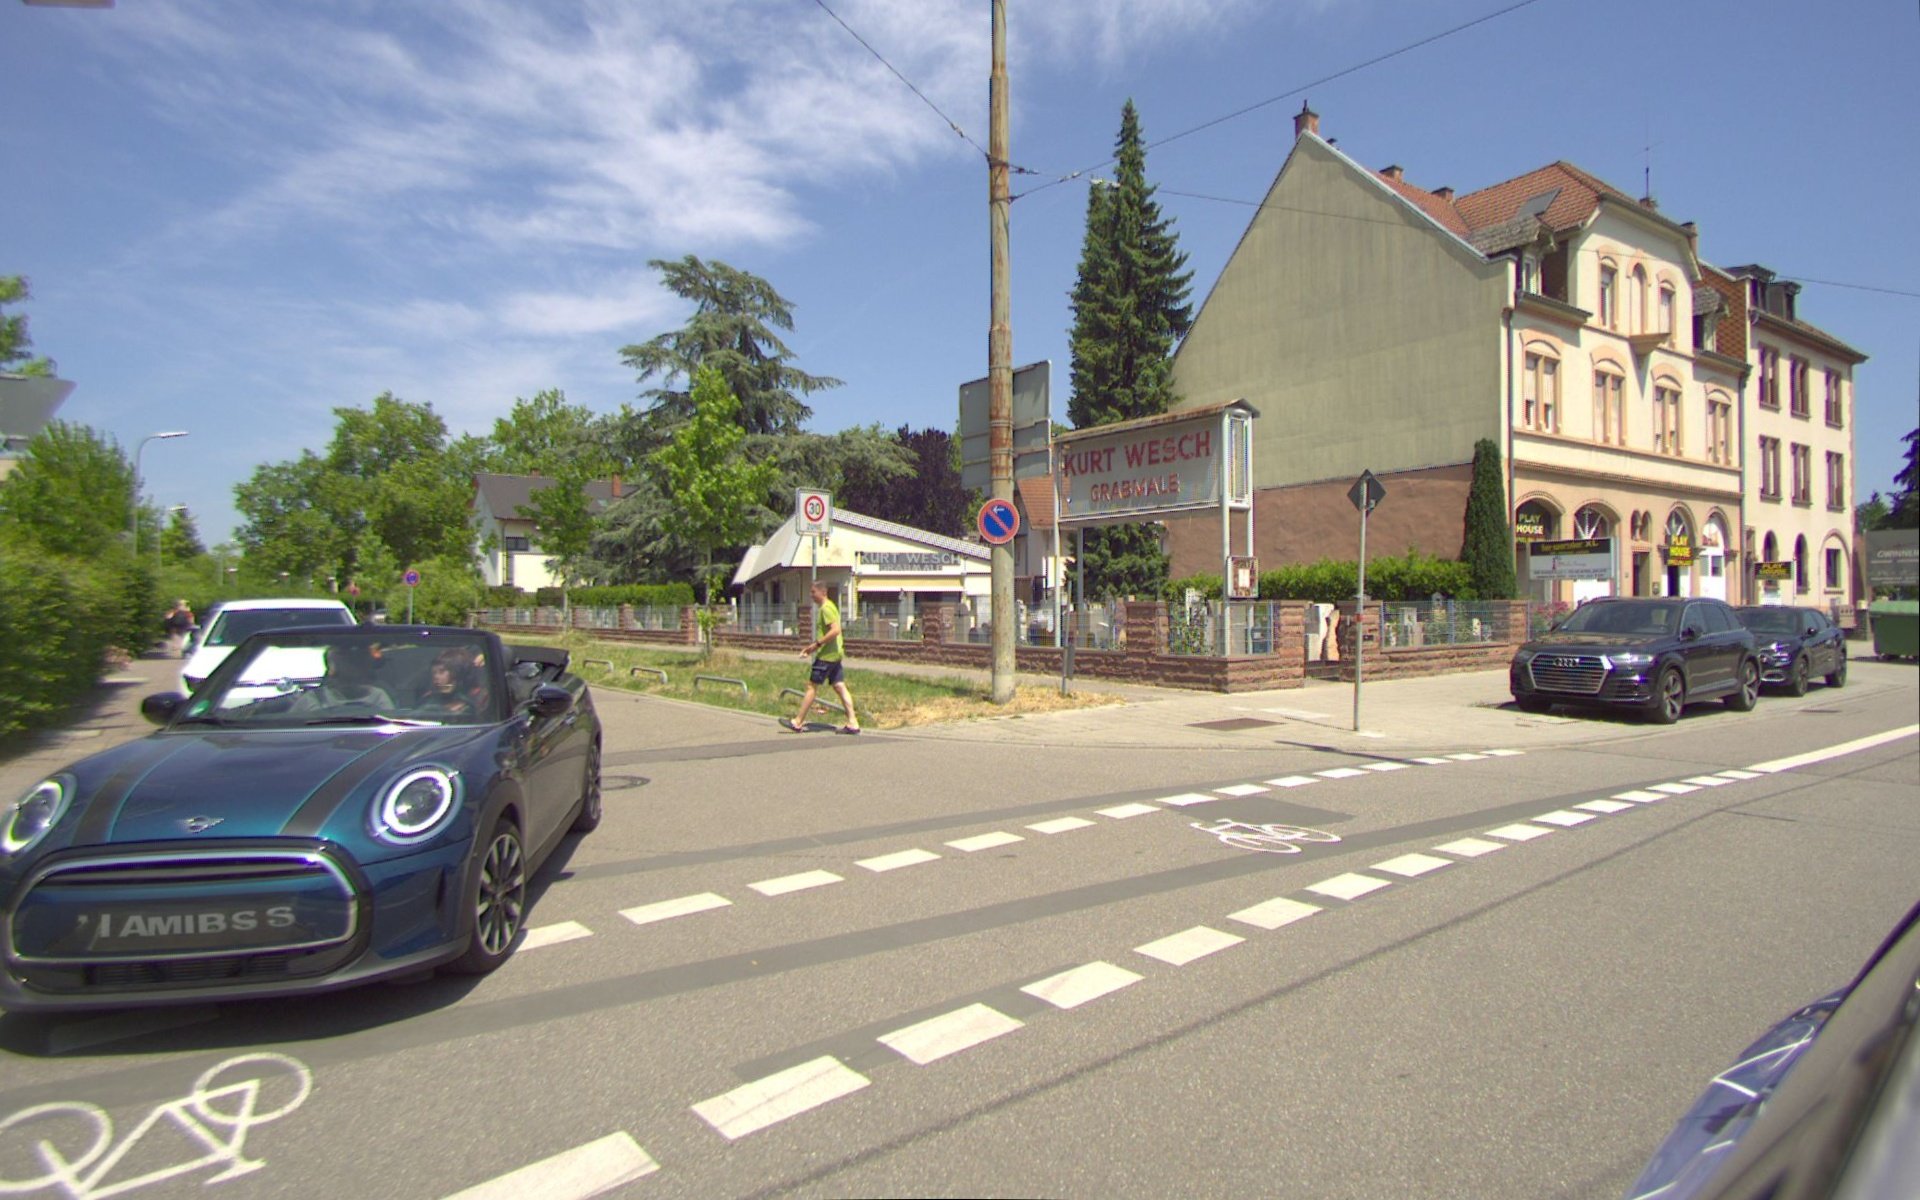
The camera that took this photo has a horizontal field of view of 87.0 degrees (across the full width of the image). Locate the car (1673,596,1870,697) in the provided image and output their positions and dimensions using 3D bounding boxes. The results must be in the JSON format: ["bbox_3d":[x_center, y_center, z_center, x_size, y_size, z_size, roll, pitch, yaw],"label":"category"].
[{"bbox_3d":[14.955,0.749,18.570,4.385,1.567,1.777,-1,2,-37],"label":"car"}]

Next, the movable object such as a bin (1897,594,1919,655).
[{"bbox_3d":[23.682,0.603,24.566,1.039,1.473,1.250,0,2,-40],"label":"movable object such as a bin"}]

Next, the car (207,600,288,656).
[{"bbox_3d":[-19.876,0.730,28.154,1.735,1.427,4.160,0,0,-37],"label":"car"}]

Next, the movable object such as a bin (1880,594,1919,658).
[{"bbox_3d":[22.806,0.616,23.980,1.039,1.473,1.326,0,2,-40],"label":"movable object such as a bin"}]

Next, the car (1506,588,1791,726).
[{"bbox_3d":[10.314,0.696,15.017,4.986,1.714,1.930,0,1,-36],"label":"car"}]

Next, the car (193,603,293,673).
[{"bbox_3d":[-16.555,0.798,23.308,1.735,1.427,4.463,0,0,-37],"label":"car"}]

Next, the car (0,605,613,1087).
[{"bbox_3d":[-2.845,0.746,5.047,1.668,1.389,3.934,-1,0,-13],"label":"car"}]

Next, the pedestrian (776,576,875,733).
[{"bbox_3d":[-1.521,0.595,11.449,0.833,1.688,0.726,-1,-1,33],"label":"pedestrian"}]

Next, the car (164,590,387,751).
[{"bbox_3d":[-7.684,0.648,11.524,1.782,1.478,4.163,0,0,-33],"label":"car"}]

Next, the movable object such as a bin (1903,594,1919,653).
[{"bbox_3d":[24.526,0.595,25.193,1.119,1.473,1.395,0,2,-40],"label":"movable object such as a bin"}]

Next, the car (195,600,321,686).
[{"bbox_3d":[-13.242,0.725,18.996,1.735,1.427,4.158,0,0,-38],"label":"car"}]
